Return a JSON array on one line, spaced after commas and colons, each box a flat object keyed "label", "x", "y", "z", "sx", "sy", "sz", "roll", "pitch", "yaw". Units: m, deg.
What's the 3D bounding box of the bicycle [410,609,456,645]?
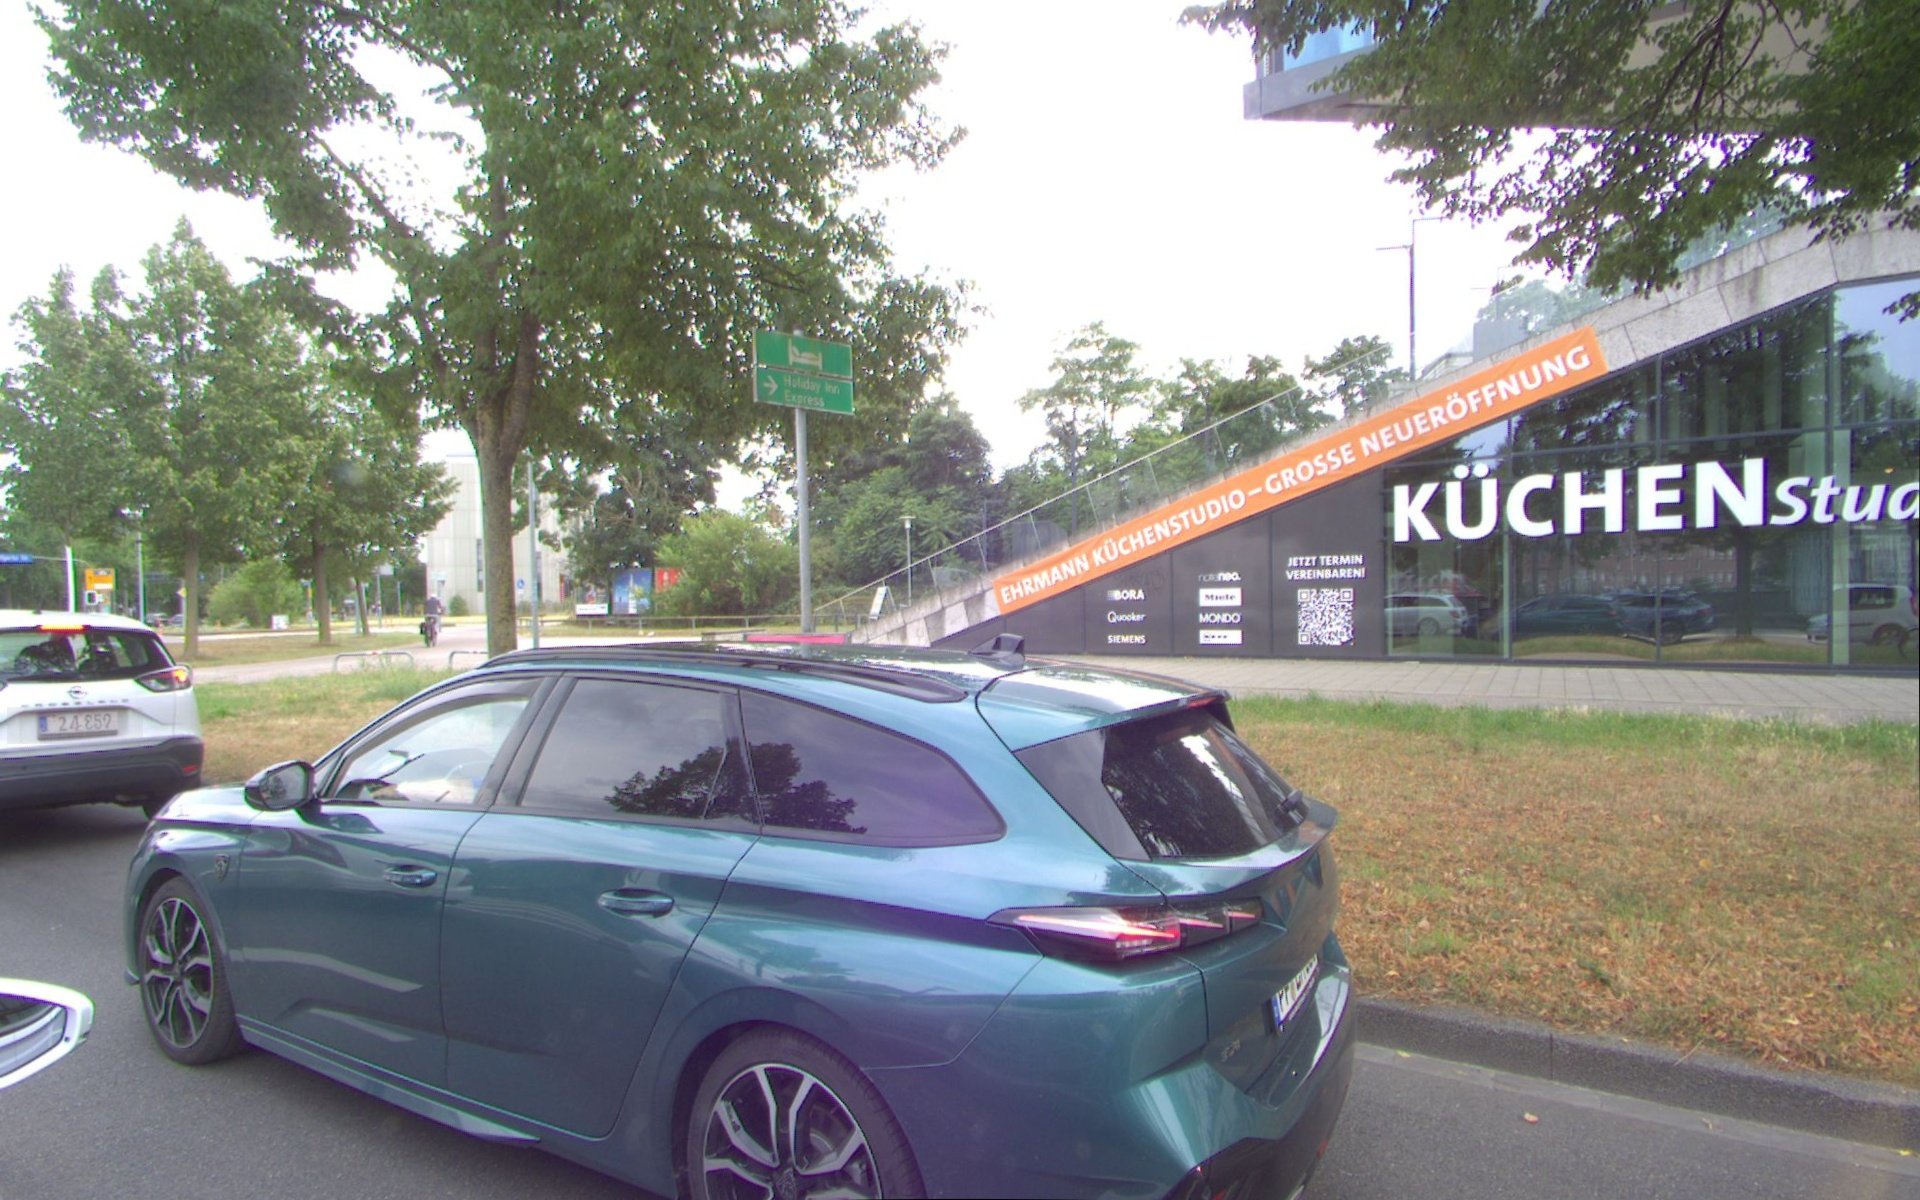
[{"label": "bicycle", "x": -18.803, "y": 0.941, "z": 35.775, "sx": 0.888, "sy": 1.251, "sz": 2.265, "roll": 0, "pitch": 0, "yaw": -12}]

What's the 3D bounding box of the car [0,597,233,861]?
[{"label": "car", "x": -7.415, "y": 0.816, "z": 7.593, "sx": 3.854, "sy": 1.646, "sz": 1.783, "roll": 0, "pitch": 0, "yaw": 33}]

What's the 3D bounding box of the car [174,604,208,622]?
[{"label": "car", "x": -74.804, "y": 1.239, "z": 97.443, "sx": 1.762, "sy": 1.658, "sz": 4.382, "roll": -1, "pitch": 0, "yaw": -27}]

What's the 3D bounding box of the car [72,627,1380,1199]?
[{"label": "car", "x": -0.959, "y": 0.839, "z": 3.398, "sx": 4.245, "sy": 1.450, "sz": 1.786, "roll": 0, "pitch": -1, "yaw": 29}]

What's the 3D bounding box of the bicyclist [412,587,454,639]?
[{"label": "bicyclist", "x": -18.793, "y": 0.438, "z": 35.729, "sx": 0.981, "sy": 1.761, "sz": 1.127, "roll": -2, "pitch": 3, "yaw": -12}]

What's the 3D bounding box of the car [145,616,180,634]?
[{"label": "car", "x": -82.784, "y": 2.639, "z": 104.012, "sx": 1.970, "sy": 1.813, "sz": 3.985, "roll": 1, "pitch": -2, "yaw": -26}]
